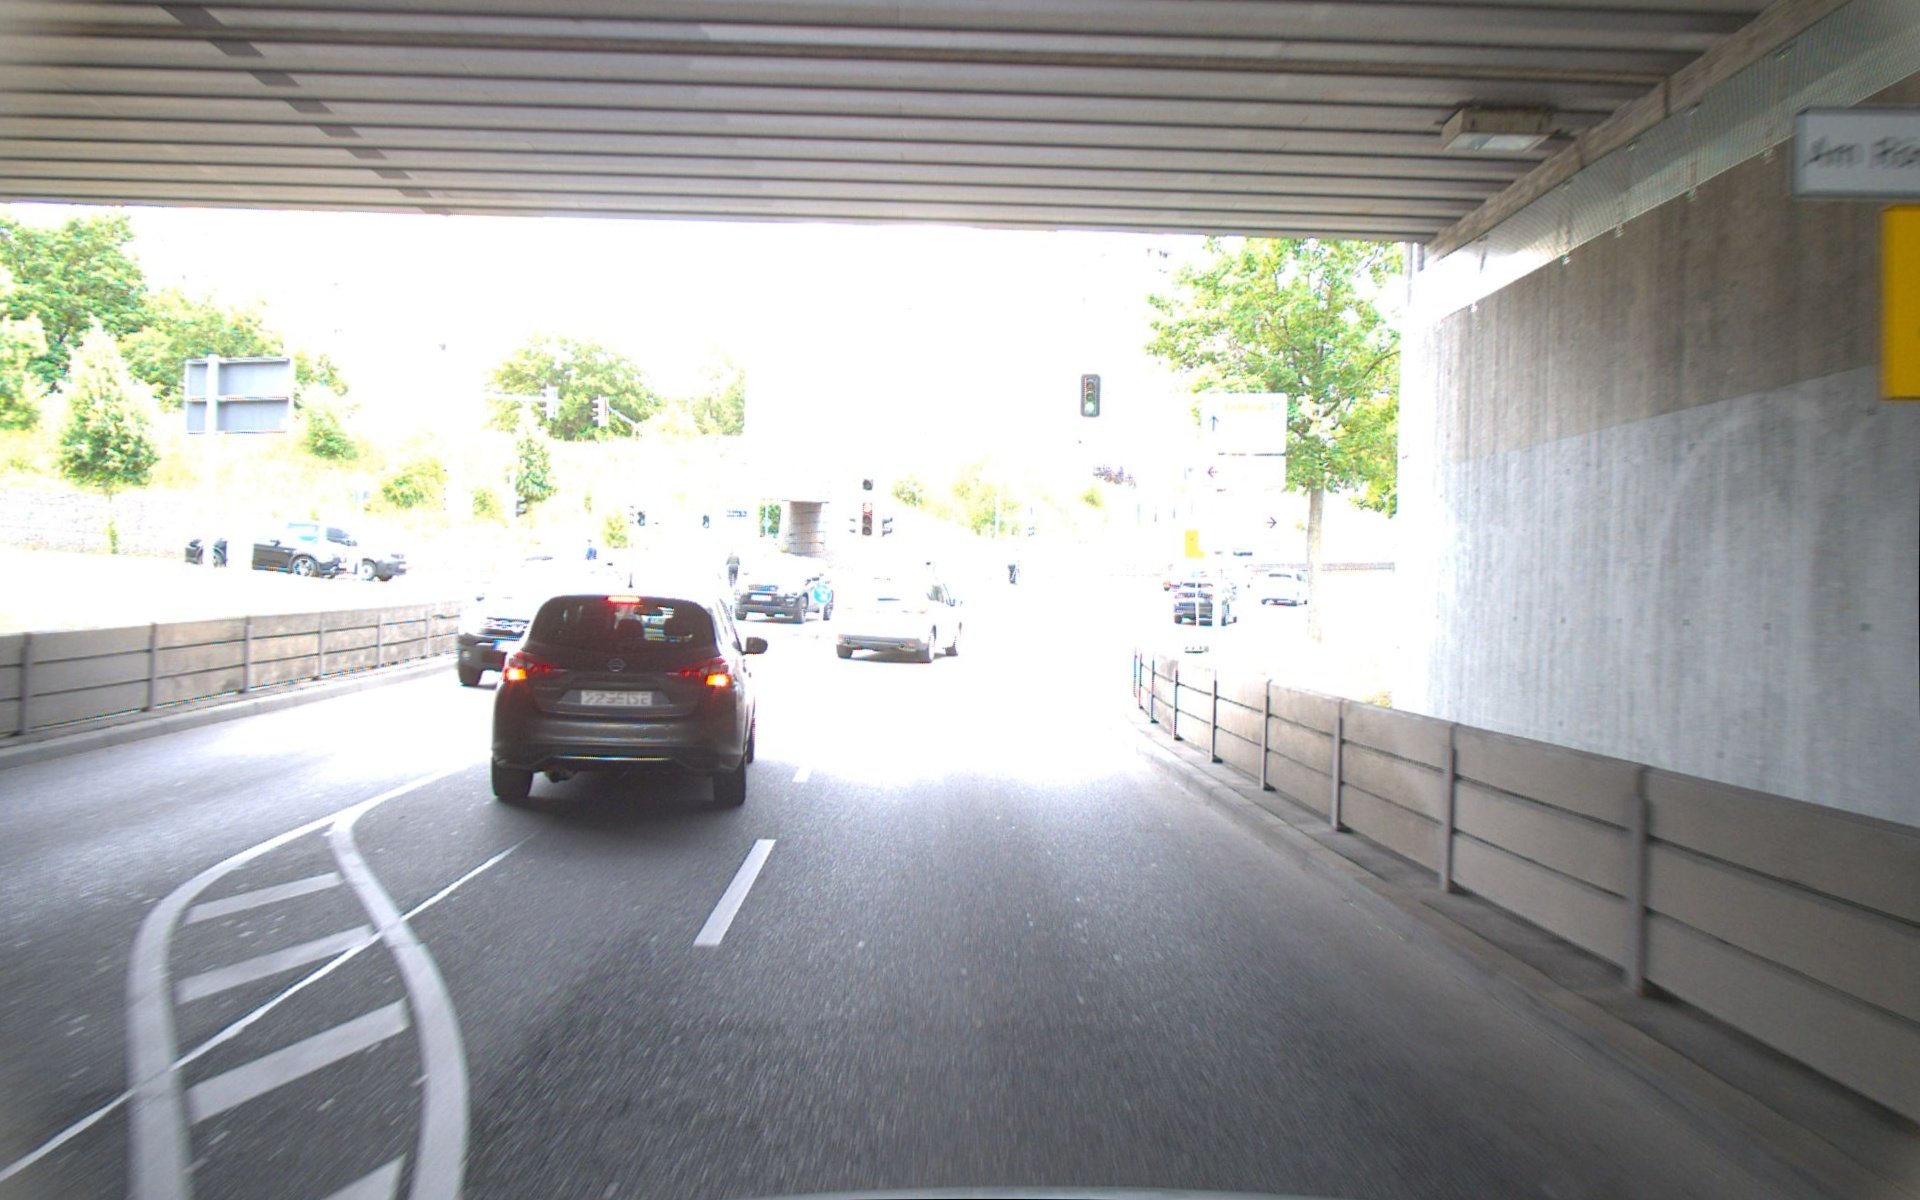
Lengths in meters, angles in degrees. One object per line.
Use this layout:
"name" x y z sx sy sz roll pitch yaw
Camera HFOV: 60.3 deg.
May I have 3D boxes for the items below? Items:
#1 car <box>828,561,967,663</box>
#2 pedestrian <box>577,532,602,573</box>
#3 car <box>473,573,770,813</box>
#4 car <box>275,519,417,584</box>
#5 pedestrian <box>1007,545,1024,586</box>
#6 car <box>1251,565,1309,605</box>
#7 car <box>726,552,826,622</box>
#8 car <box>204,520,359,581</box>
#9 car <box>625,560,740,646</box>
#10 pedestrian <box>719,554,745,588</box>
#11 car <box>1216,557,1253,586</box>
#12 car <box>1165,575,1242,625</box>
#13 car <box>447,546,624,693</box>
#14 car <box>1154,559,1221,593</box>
"car" -1.122 0.195 31.613 1.791 1.735 3.872 3 1 10
"pedestrian" -15.473 -1.974 69.024 0.935 1.641 0.698 2 1 -11
"car" -2.427 0.589 12.775 1.809 1.519 3.995 2 1 -6
"car" -20.227 -1.590 54.610 3.908 1.981 1.999 2 1 -4
"pedestrian" 2.623 -1.631 78.515 0.594 1.895 0.594 2 1 -16
"car" 14.014 -0.650 72.270 1.952 1.646 4.002 2 1 19
"car" -4.832 -0.371 44.004 1.952 1.727 4.169 2 1 3
"car" -20.740 -1.510 50.646 3.904 1.623 1.873 3 1 3
"car" -5.693 0.023 34.346 1.727 1.619 4.000 2 1 -1
"pedestrian" -9.015 -1.164 65.462 0.894 1.245 0.728 5 1 -10
"car" 14.690 -1.527 88.497 1.138 1.389 2.501 6 2 28
"car" 8.069 -0.048 54.482 1.860 1.492 4.003 2 2 18
"car" -5.623 0.187 22.318 1.654 1.737 3.786 3 1 -5
"car" 11.418 -1.201 82.800 1.808 1.479 3.991 6 4 31
